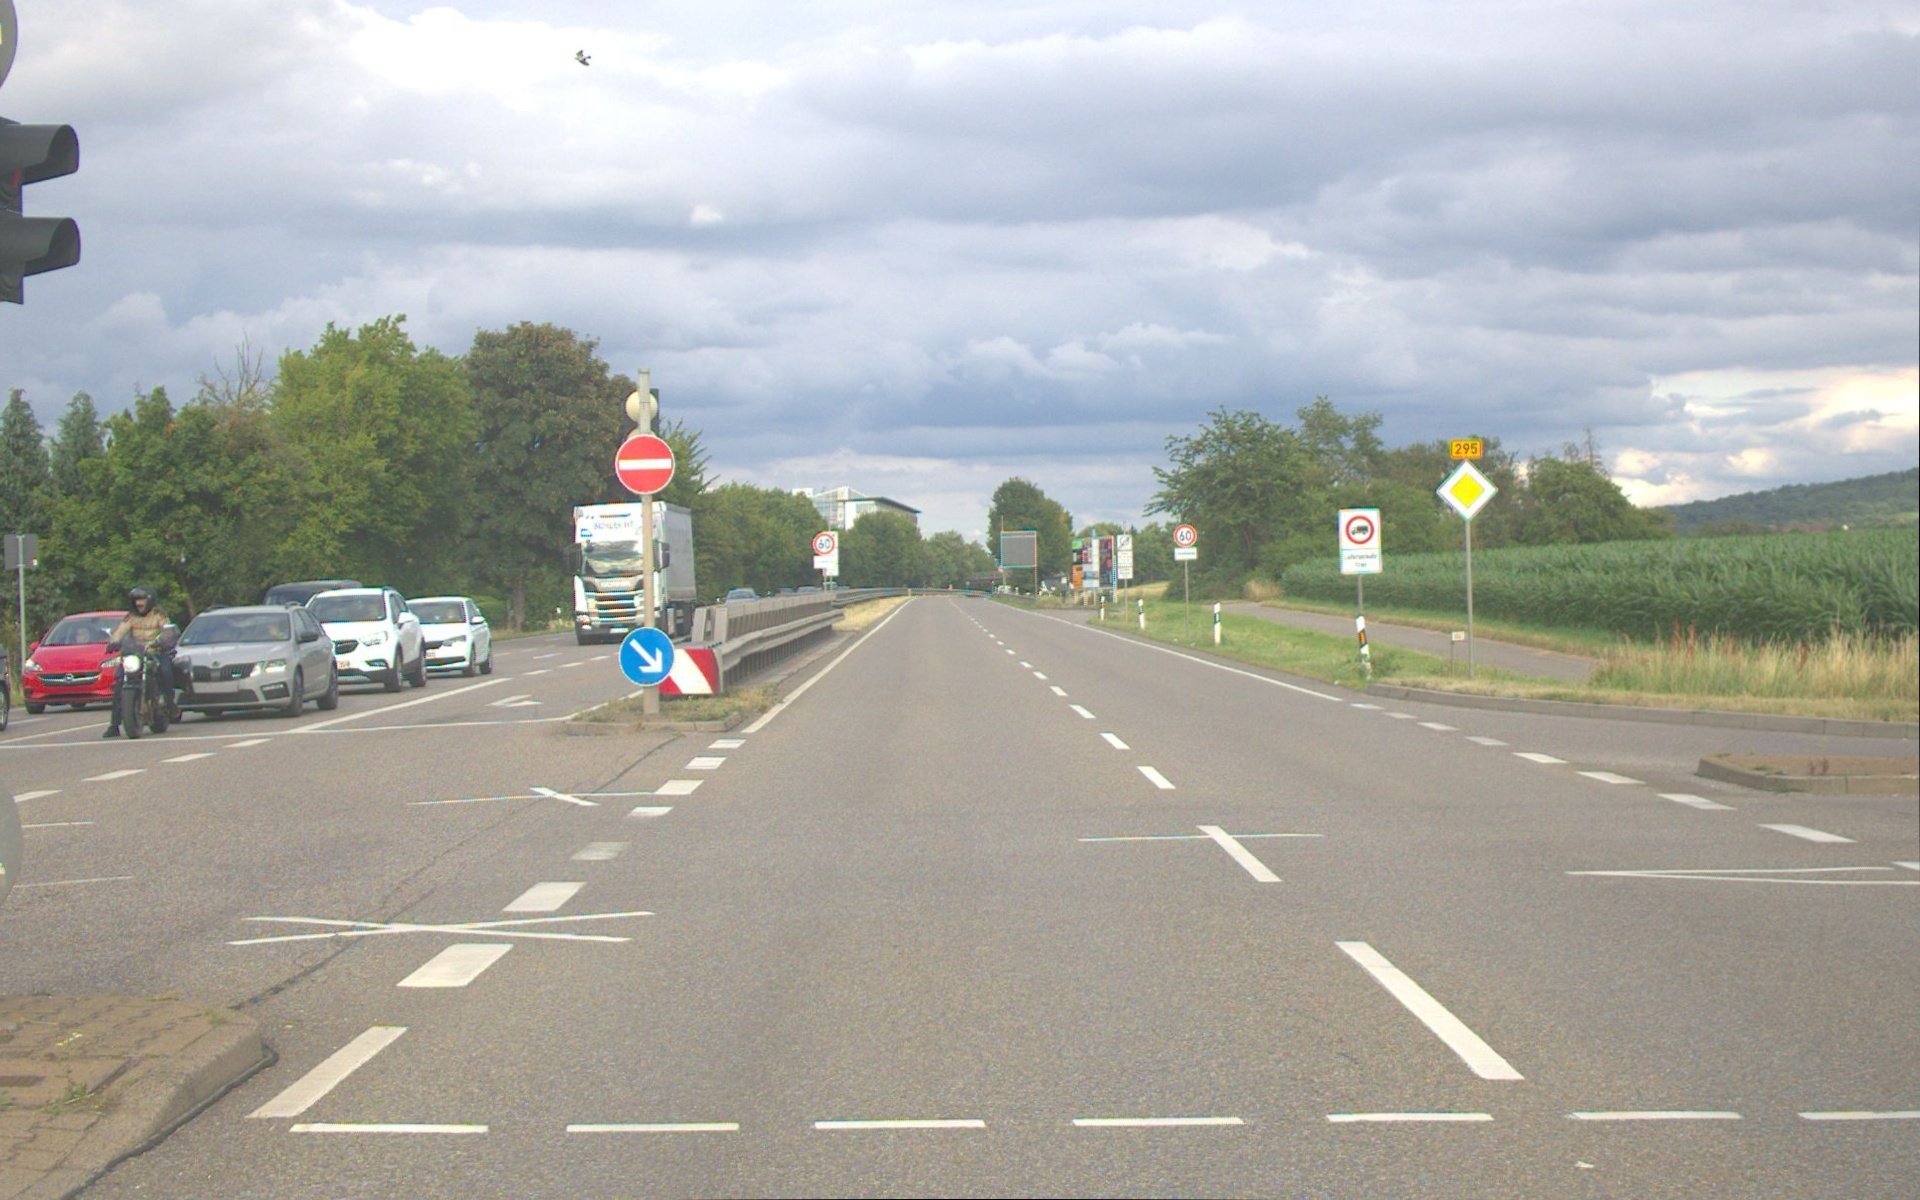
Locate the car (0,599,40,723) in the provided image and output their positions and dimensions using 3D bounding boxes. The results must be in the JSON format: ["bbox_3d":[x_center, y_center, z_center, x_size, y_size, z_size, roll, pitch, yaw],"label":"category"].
[{"bbox_3d":[-12.941,0.806,42.344,1.907,1.530,4.939,-2,1,-1],"label":"car"}]

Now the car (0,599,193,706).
[{"bbox_3d":[-13.044,0.762,52.135,1.907,1.460,4.184,-2,1,-1],"label":"car"}]

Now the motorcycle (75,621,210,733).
[{"bbox_3d":[-9.345,0.861,39.411,0.916,1.199,2.478,-2,0,0],"label":"motorcycle"}]

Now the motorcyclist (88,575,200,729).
[{"bbox_3d":[-9.345,0.581,39.409,0.916,1.703,1.276,-2,0,0],"label":"motorcyclist"}]

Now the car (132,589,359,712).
[{"bbox_3d":[-9.265,0.614,44.964,1.907,1.423,5.152,-2,1,-1],"label":"car"}]

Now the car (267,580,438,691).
[{"bbox_3d":[-9.525,0.523,54.210,1.907,1.604,4.405,-2,1,-1],"label":"car"}]

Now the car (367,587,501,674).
[{"bbox_3d":[-9.504,0.524,62.365,1.789,1.439,4.160,-2,1,-1],"label":"car"}]

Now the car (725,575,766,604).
[{"bbox_3d":[-10.832,-0.526,173.683,1.789,1.381,4.160,-2,1,-1],"label":"car"}]

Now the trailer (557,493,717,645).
[{"bbox_3d":[-9.665,-0.925,104.624,3.465,4.136,13.916,-3,0,0],"label":"trailer"}]

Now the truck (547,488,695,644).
[{"bbox_3d":[-9.632,-0.958,98.311,3.474,4.136,6.050,-3,0,0],"label":"truck"}]
